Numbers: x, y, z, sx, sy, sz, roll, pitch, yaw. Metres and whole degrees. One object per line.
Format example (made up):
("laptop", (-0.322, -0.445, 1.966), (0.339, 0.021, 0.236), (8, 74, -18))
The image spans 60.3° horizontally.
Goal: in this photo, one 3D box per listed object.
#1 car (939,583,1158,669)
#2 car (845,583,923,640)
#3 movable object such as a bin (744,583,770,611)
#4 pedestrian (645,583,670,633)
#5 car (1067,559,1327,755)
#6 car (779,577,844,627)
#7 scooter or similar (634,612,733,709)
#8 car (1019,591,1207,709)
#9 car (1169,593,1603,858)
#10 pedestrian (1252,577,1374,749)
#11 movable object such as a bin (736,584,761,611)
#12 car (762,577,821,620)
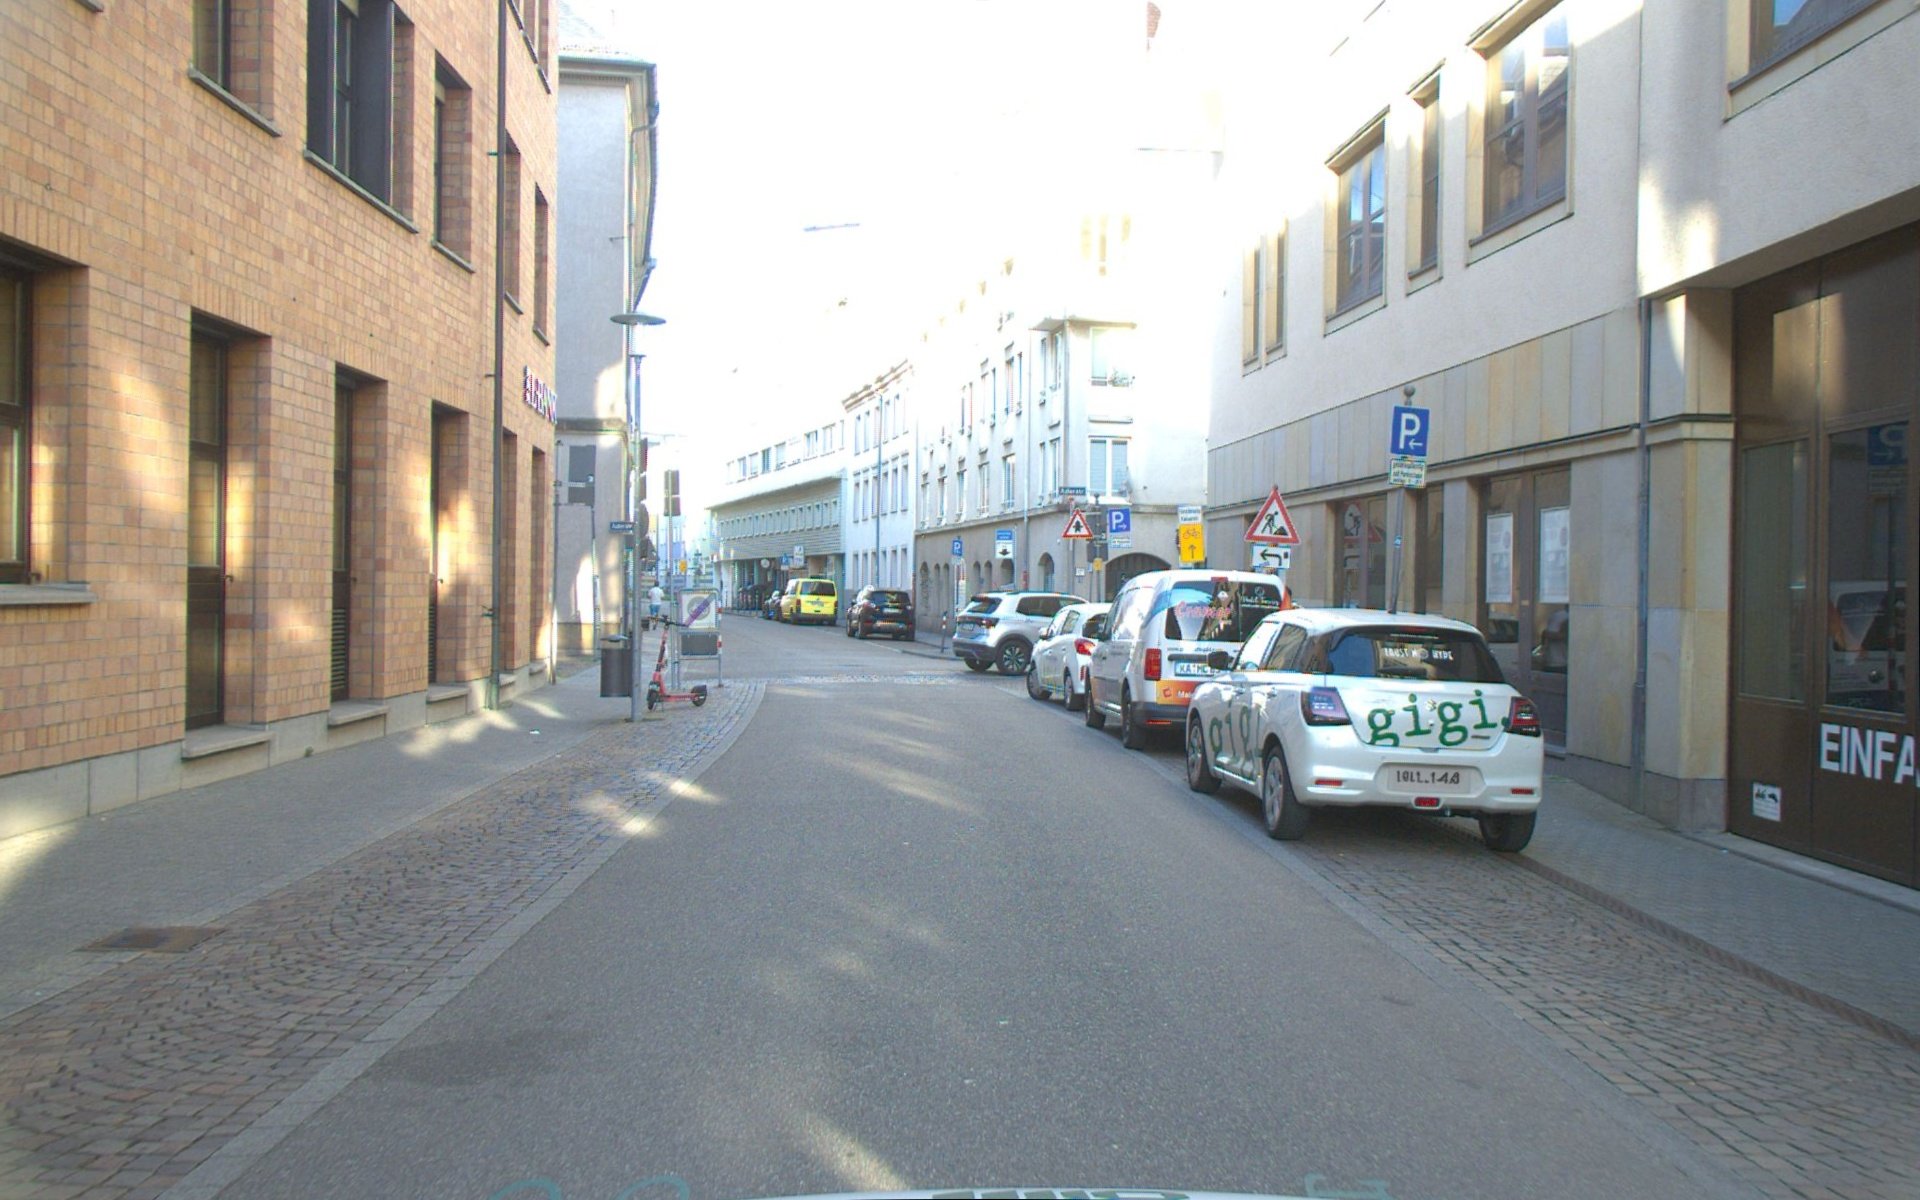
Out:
("car", (1.735, 0.467, 32.382), (3.937, 1.589, 1.827), (0, 1, -26))
("car", (-2.532, 0.347, 54.024), (1.933, 1.721, 4.090), (2, 0, -11))
("movable object such as a bin", (-11.558, -0.168, 94.147), (1.114, 1.585, 1.730), (1, 0, -19))
("pedestrian", (-10.658, 0.288, 58.236), (0.754, 1.754, 0.684), (1, 0, -17))
("car", (2.443, 0.534, 18.422), (1.794, 1.822, 5.210), (2, 0, -4))
("car", (-6.345, 0.069, 70.247), (2.019, 2.049, 4.157), (1, 1, -16))
("scooter or similar", (-3.711, 0.790, 22.269), (0.683, 1.238, 1.356), (0, 0, 24))
("car", (2.145, 0.671, 24.359), (1.853, 1.545, 4.055), (1, 0, -8))
("car", (2.862, 0.761, 12.134), (1.804, 1.503, 4.165), (3, 0, -4))
("pedestrian", (3.886, 0.679, 18.280), (1.021, 1.833, 1.198), (1, 0, -4))
("movable object such as a bin", (-12.237, -0.165, 95.804), (1.114, 1.505, 1.730), (1, 0, -19))
("car", (-7.771, -0.105, 75.940), (2.019, 1.905, 4.083), (1, 1, -16))
